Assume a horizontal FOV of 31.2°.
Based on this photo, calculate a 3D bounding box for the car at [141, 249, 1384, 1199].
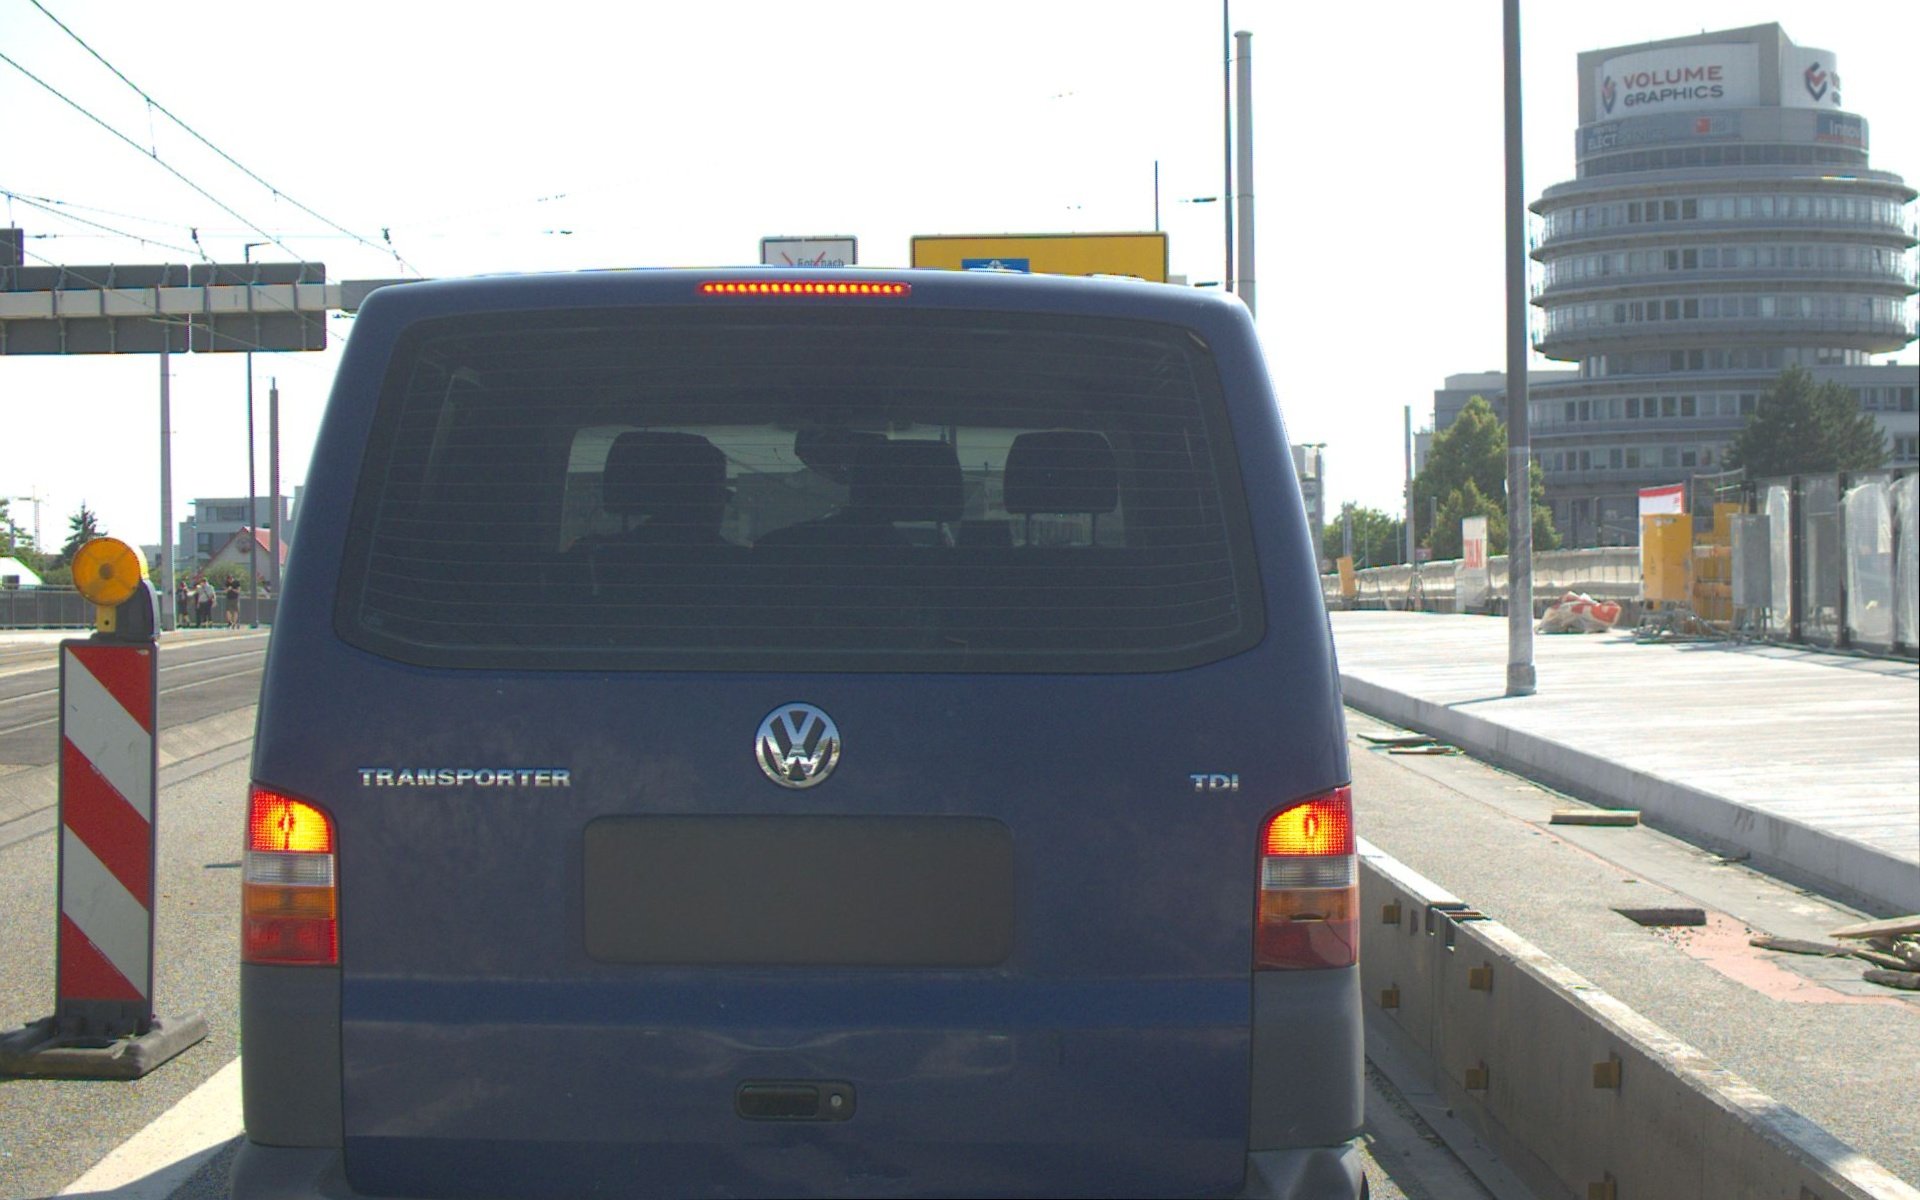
[{"bbox_3d":[-0.372,0.396,7.080,1.815,1.899,4.055,0,1,-3],"label":"car"}]

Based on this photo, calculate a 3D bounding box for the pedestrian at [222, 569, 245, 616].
[{"bbox_3d":[-25.001,-0.262,118.277,0.634,1.593,0.752,0,1,-1],"label":"pedestrian"}]

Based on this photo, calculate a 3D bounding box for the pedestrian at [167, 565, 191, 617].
[{"bbox_3d":[-26.150,-0.305,115.149,0.634,1.746,0.752,0,1,-1],"label":"pedestrian"}]

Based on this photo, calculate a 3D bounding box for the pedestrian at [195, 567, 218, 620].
[{"bbox_3d":[-25.282,-0.212,115.367,0.634,1.768,0.752,0,1,-1],"label":"pedestrian"}]
